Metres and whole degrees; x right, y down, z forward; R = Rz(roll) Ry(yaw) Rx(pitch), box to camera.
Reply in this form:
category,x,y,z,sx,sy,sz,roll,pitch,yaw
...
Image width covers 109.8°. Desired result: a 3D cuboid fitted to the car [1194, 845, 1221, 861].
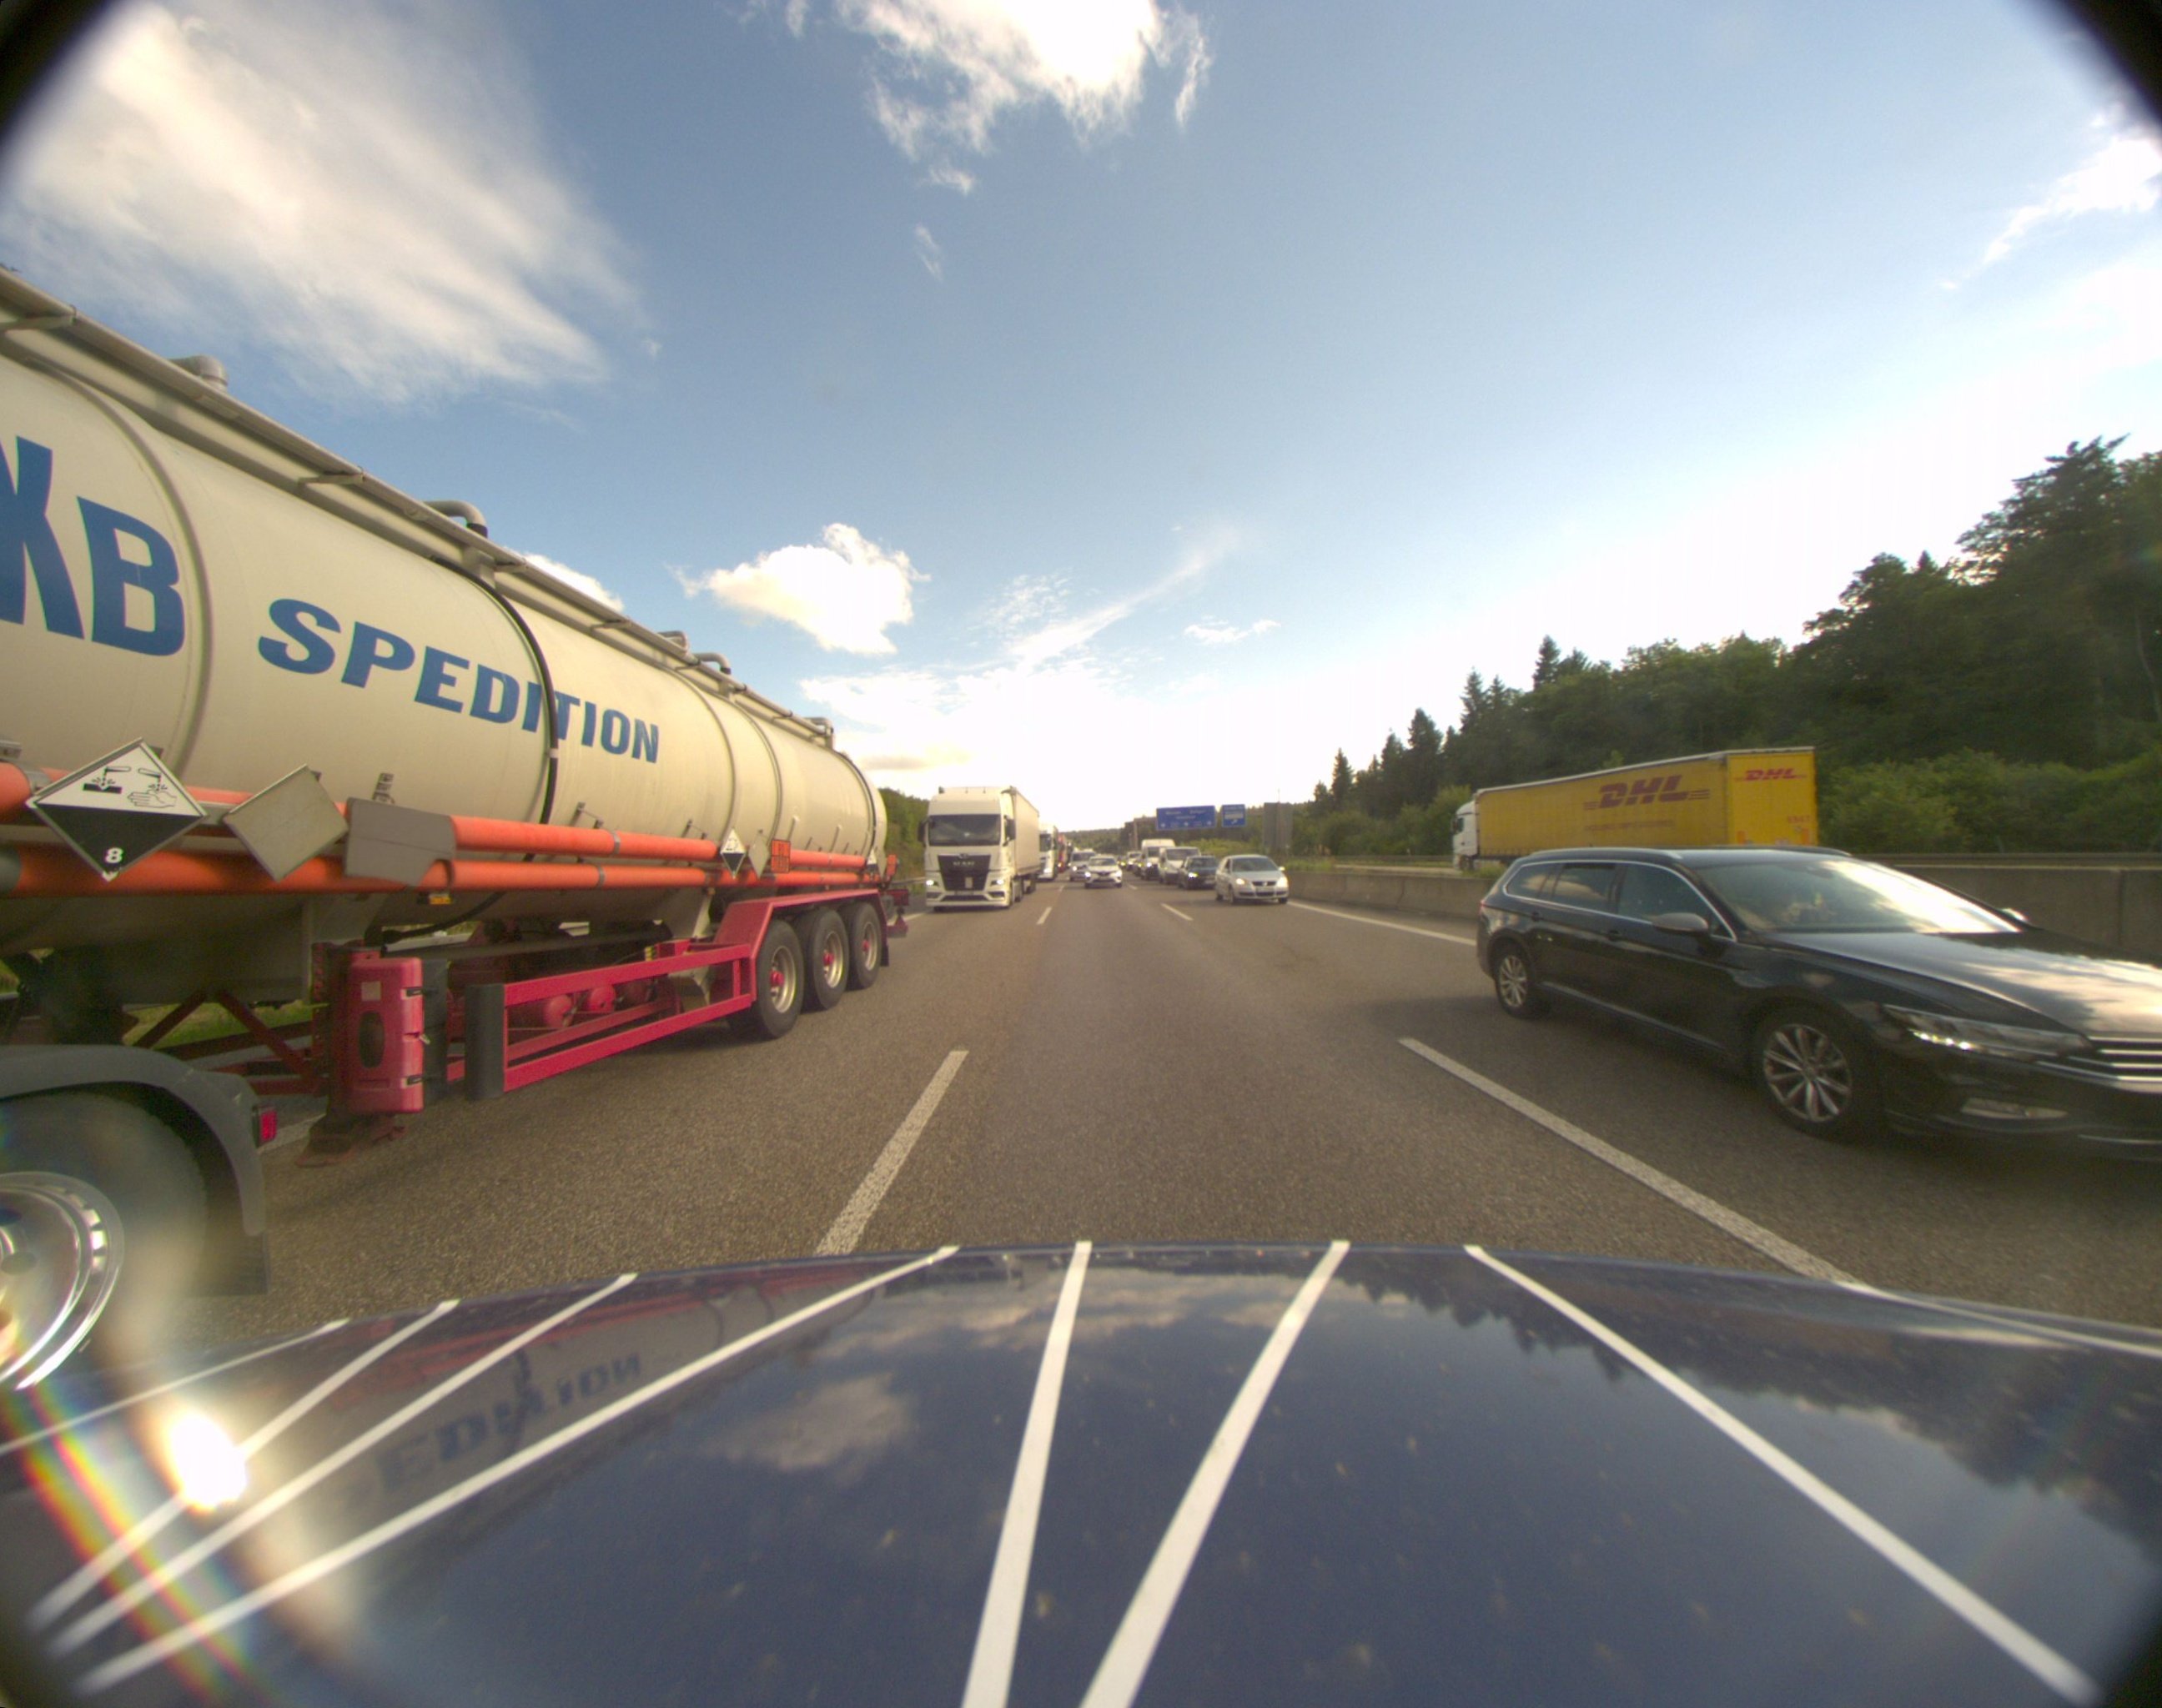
category,x,y,z,sx,sy,sz,roll,pitch,yaw
car,12.723,-0.107,76.446,1.809,1.423,4.322,-2,0,-2

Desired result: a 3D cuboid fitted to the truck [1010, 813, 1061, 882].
category,x,y,z,sx,sy,sz,roll,pitch,yaw
truck,-2.917,-0.414,50.723,2.841,4.177,5.707,-2,0,1

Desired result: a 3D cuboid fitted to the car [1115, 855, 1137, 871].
category,x,y,z,sx,sy,sz,roll,pitch,yaw
car,4.155,0.838,71.090,1.809,1.423,3.660,-2,0,0

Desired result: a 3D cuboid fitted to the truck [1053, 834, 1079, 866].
category,x,y,z,sx,sy,sz,roll,pitch,yaw
truck,-2.053,-0.602,107.192,2.840,4.178,12.045,-2,1,2

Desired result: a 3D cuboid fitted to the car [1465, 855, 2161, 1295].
category,x,y,z,sx,sy,sz,roll,pitch,yaw
car,4.530,0.781,4.911,1.915,1.469,4.569,-2,0,2

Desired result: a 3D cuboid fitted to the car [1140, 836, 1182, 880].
category,x,y,z,sx,sy,sz,roll,pitch,yaw
car,4.948,0.215,47.891,2.054,2.557,5.861,-1,0,0

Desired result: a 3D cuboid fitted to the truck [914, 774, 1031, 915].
category,x,y,z,sx,sy,sz,roll,pitch,yaw
truck,-3.373,-0.282,25.163,2.841,4.048,5.707,-2,0,1

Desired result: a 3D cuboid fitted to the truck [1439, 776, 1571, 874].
category,x,y,z,sx,sy,sz,roll,pitch,yaw
truck,19.998,-1.298,36.310,2.841,4.178,6.078,-2,1,0

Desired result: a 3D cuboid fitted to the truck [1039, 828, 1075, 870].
category,x,y,z,sx,sy,sz,roll,pitch,yaw
truck,-2.449,-0.565,82.259,2.840,4.178,12.045,-2,1,2

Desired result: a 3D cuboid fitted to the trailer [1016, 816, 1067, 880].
category,x,y,z,sx,sy,sz,roll,pitch,yaw
trailer,-2.809,-0.429,58.106,2.841,4.177,13.613,-2,0,1

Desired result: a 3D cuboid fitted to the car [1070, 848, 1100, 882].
category,x,y,z,sx,sy,sz,roll,pitch,yaw
car,0.292,0.687,49.696,1.809,2.052,4.770,-2,0,0

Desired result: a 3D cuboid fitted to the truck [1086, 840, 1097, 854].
category,x,y,z,sx,sy,sz,roll,pitch,yaw
truck,3.238,-2.227,231.846,2.840,4.178,12.045,-2,1,2

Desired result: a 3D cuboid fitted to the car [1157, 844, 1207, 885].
category,x,y,z,sx,sy,sz,roll,pitch,yaw
car,5.266,0.504,40.262,1.947,1.953,4.847,-2,0,0

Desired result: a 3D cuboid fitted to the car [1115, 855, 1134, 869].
category,x,y,z,sx,sy,sz,roll,pitch,yaw
car,4.898,0.871,85.727,1.920,1.535,3.811,-2,0,0

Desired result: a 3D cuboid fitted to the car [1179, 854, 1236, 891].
category,x,y,z,sx,sy,sz,roll,pitch,yaw
car,5.453,0.754,33.309,1.809,1.423,3.994,-2,0,0

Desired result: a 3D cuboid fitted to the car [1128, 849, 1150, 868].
category,x,y,z,sx,sy,sz,roll,pitch,yaw
car,5.809,0.477,76.563,1.920,1.785,3.811,-2,0,0

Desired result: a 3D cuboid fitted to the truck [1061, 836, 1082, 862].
category,x,y,z,sx,sy,sz,roll,pitch,yaw
truck,-1.594,-0.935,134.940,2.840,4.178,12.045,-2,1,2

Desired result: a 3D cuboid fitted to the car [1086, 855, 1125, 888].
category,x,y,z,sx,sy,sz,roll,pitch,yaw
car,1.181,0.835,38.379,1.809,1.487,4.666,-2,0,0

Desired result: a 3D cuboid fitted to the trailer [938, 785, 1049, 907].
category,x,y,z,sx,sy,sz,roll,pitch,yaw
trailer,-3.241,-0.309,32.361,2.833,4.047,13.371,-2,0,1

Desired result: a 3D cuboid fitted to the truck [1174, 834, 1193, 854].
category,x,y,z,sx,sy,sz,roll,pitch,yaw
truck,22.575,-2.254,167.209,2.840,4.178,12.045,-2,1,2

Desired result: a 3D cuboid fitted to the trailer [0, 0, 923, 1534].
category,x,y,z,sx,sy,sz,roll,pitch,yaw
trailer,-4.035,-0.307,6.280,2.805,4.003,11.182,-2,0,1

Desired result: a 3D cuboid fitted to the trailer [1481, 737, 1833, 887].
category,x,y,z,sx,sy,sz,roll,pitch,yaw
trailer,20.019,-1.263,28.468,2.841,4.178,13.560,-2,1,0

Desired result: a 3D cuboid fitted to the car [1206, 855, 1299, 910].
category,x,y,z,sx,sy,sz,roll,pitch,yaw
car,5.166,0.801,23.534,1.809,1.423,4.666,-2,0,0
